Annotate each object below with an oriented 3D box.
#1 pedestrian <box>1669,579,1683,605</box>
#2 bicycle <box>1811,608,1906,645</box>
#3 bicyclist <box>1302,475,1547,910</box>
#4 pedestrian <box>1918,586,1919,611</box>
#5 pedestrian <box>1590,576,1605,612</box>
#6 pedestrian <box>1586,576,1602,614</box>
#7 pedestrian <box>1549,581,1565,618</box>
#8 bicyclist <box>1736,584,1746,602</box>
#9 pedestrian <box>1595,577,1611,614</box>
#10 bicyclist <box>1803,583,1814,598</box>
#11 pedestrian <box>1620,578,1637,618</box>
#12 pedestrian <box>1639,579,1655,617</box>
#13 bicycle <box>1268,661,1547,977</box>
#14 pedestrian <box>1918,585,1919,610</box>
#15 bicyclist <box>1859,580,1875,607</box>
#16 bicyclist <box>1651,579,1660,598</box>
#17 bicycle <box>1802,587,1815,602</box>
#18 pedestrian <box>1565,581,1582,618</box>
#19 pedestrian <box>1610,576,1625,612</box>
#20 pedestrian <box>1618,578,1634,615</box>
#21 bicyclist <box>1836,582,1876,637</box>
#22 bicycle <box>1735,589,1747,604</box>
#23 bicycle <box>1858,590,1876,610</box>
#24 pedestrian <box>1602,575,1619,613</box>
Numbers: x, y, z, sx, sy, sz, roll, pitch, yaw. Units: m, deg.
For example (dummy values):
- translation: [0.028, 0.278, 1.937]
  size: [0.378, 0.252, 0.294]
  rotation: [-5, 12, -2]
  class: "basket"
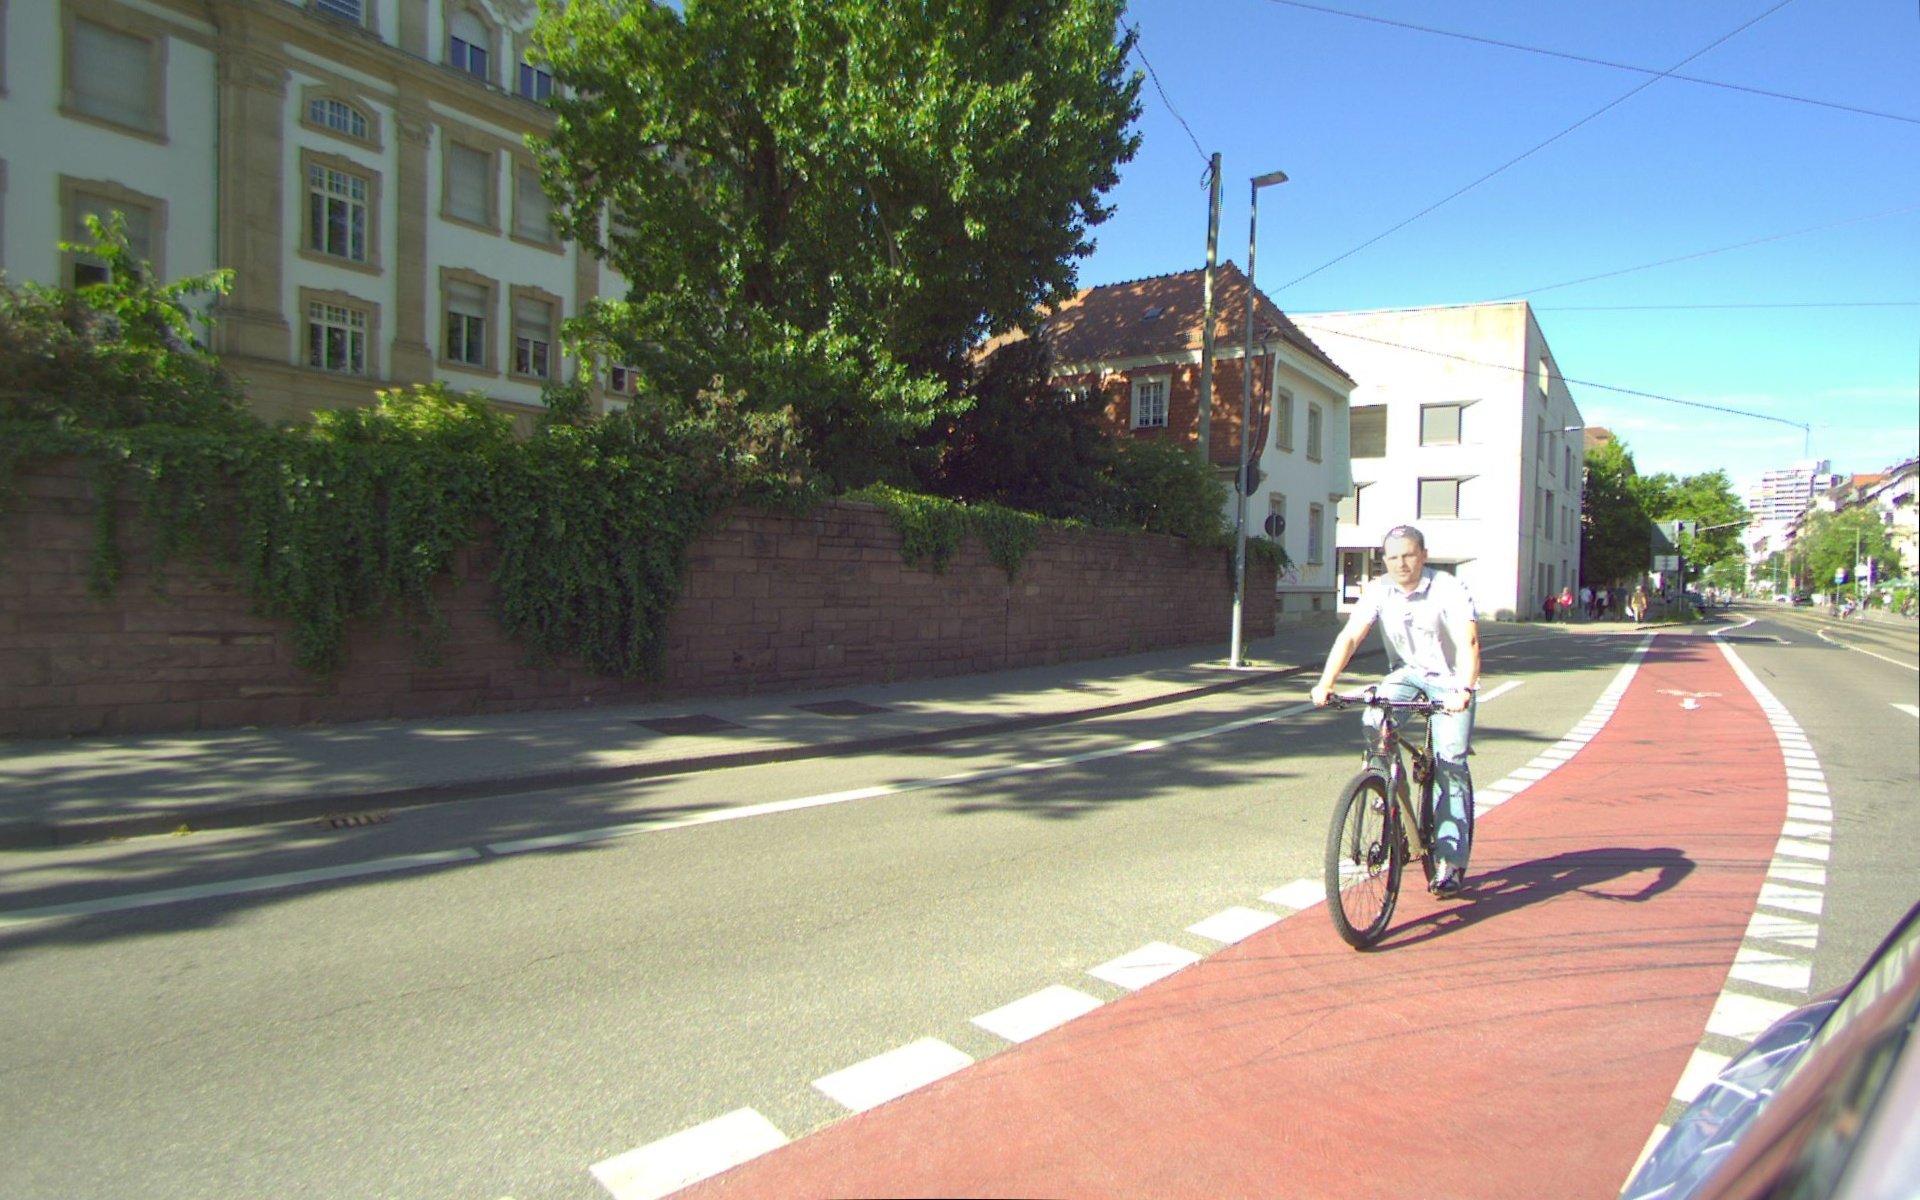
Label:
- translation: [49.523, -0.563, 70.022]
  size: [0.675, 1.759, 0.919]
  rotation: [2, 1, 39]
  class: "pedestrian"
- translation: [50.414, 1.454, 56.863]
  size: [0.984, 1.910, 3.898]
  rotation: [-1, 1, -31]
  class: "bicycle"
- translation: [2.217, 0.373, 4.808]
  size: [0.750, 1.798, 0.998]
  rotation: [1, 1, 44]
  class: "bicyclist"
- translation: [70.626, -0.098, 74.113]
  size: [0.576, 1.879, 0.675]
  rotation: [2, 1, 38]
  class: "pedestrian"
- translation: [32.791, -0.334, 52.072]
  size: [0.584, 1.828, 0.538]
  rotation: [2, 1, 36]
  class: "pedestrian"
- translation: [30.627, -0.258, 48.894]
  size: [0.584, 1.828, 0.538]
  rotation: [2, 1, 36]
  class: "pedestrian"
- translation: [26.613, -0.030, 45.106]
  size: [0.531, 1.586, 0.513]
  rotation: [2, 1, 36]
  class: "pedestrian"
- translation: [64.156, -0.606, 83.144]
  size: [0.663, 1.480, 0.613]
  rotation: [0, 1, 41]
  class: "bicyclist"
- translation: [32.049, -0.244, 50.446]
  size: [0.584, 1.828, 0.575]
  rotation: [2, 1, 36]
  class: "pedestrian"
- translation: [102.070, -1.157, 121.763]
  size: [0.998, 1.743, 0.971]
  rotation: [0, 1, 37]
  class: "bicyclist"
- translation: [31.698, -0.103, 47.979]
  size: [0.584, 1.828, 0.513]
  rotation: [2, 1, 36]
  class: "pedestrian"
- translation: [32.336, -0.099, 47.629]
  size: [0.584, 1.749, 0.513]
  rotation: [2, 1, 36]
  class: "pedestrian"
- translation: [2.165, 0.896, 4.766]
  size: [0.611, 1.090, 1.801]
  rotation: [1, 1, 44]
  class: "bicycle"
- translation: [72.355, -0.160, 75.933]
  size: [0.576, 1.879, 0.675]
  rotation: [2, 1, 38]
  class: "pedestrian"
- translation: [77.325, -0.540, 86.283]
  size: [0.999, 2.296, 1.006]
  rotation: [0, 1, 40]
  class: "bicyclist"
- translation: [81.376, -1.362, 118.483]
  size: [0.809, 2.234, 0.971]
  rotation: [0, 1, 39]
  class: "bicyclist"
- translation: [102.080, -0.713, 121.770]
  size: [0.998, 1.702, 2.945]
  rotation: [0, 1, 37]
  class: "bicycle"
- translation: [27.103, -0.019, 44.708]
  size: [0.531, 1.586, 0.513]
  rotation: [2, 1, 36]
  class: "pedestrian"
- translation: [33.545, -0.324, 51.606]
  size: [0.584, 1.828, 0.538]
  rotation: [2, 1, 36]
  class: "pedestrian"
- translation: [32.934, -0.189, 50.068]
  size: [0.584, 1.828, 0.575]
  rotation: [2, 1, 36]
  class: "pedestrian"
- translation: [50.379, 0.509, 56.911]
  size: [0.984, 3.012, 1.475]
  rotation: [-1, 1, -31]
  class: "bicyclist"
- translation: [64.171, -0.278, 83.162]
  size: [0.663, 1.166, 1.648]
  rotation: [0, 1, 40]
  class: "bicycle"
- translation: [77.342, -0.015, 86.300]
  size: [0.999, 1.702, 2.943]
  rotation: [0, 1, 39]
  class: "bicycle"
- translation: [31.151, -0.292, 48.465]
  size: [0.584, 1.828, 0.538]
  rotation: [2, 1, 36]
  class: "pedestrian"
